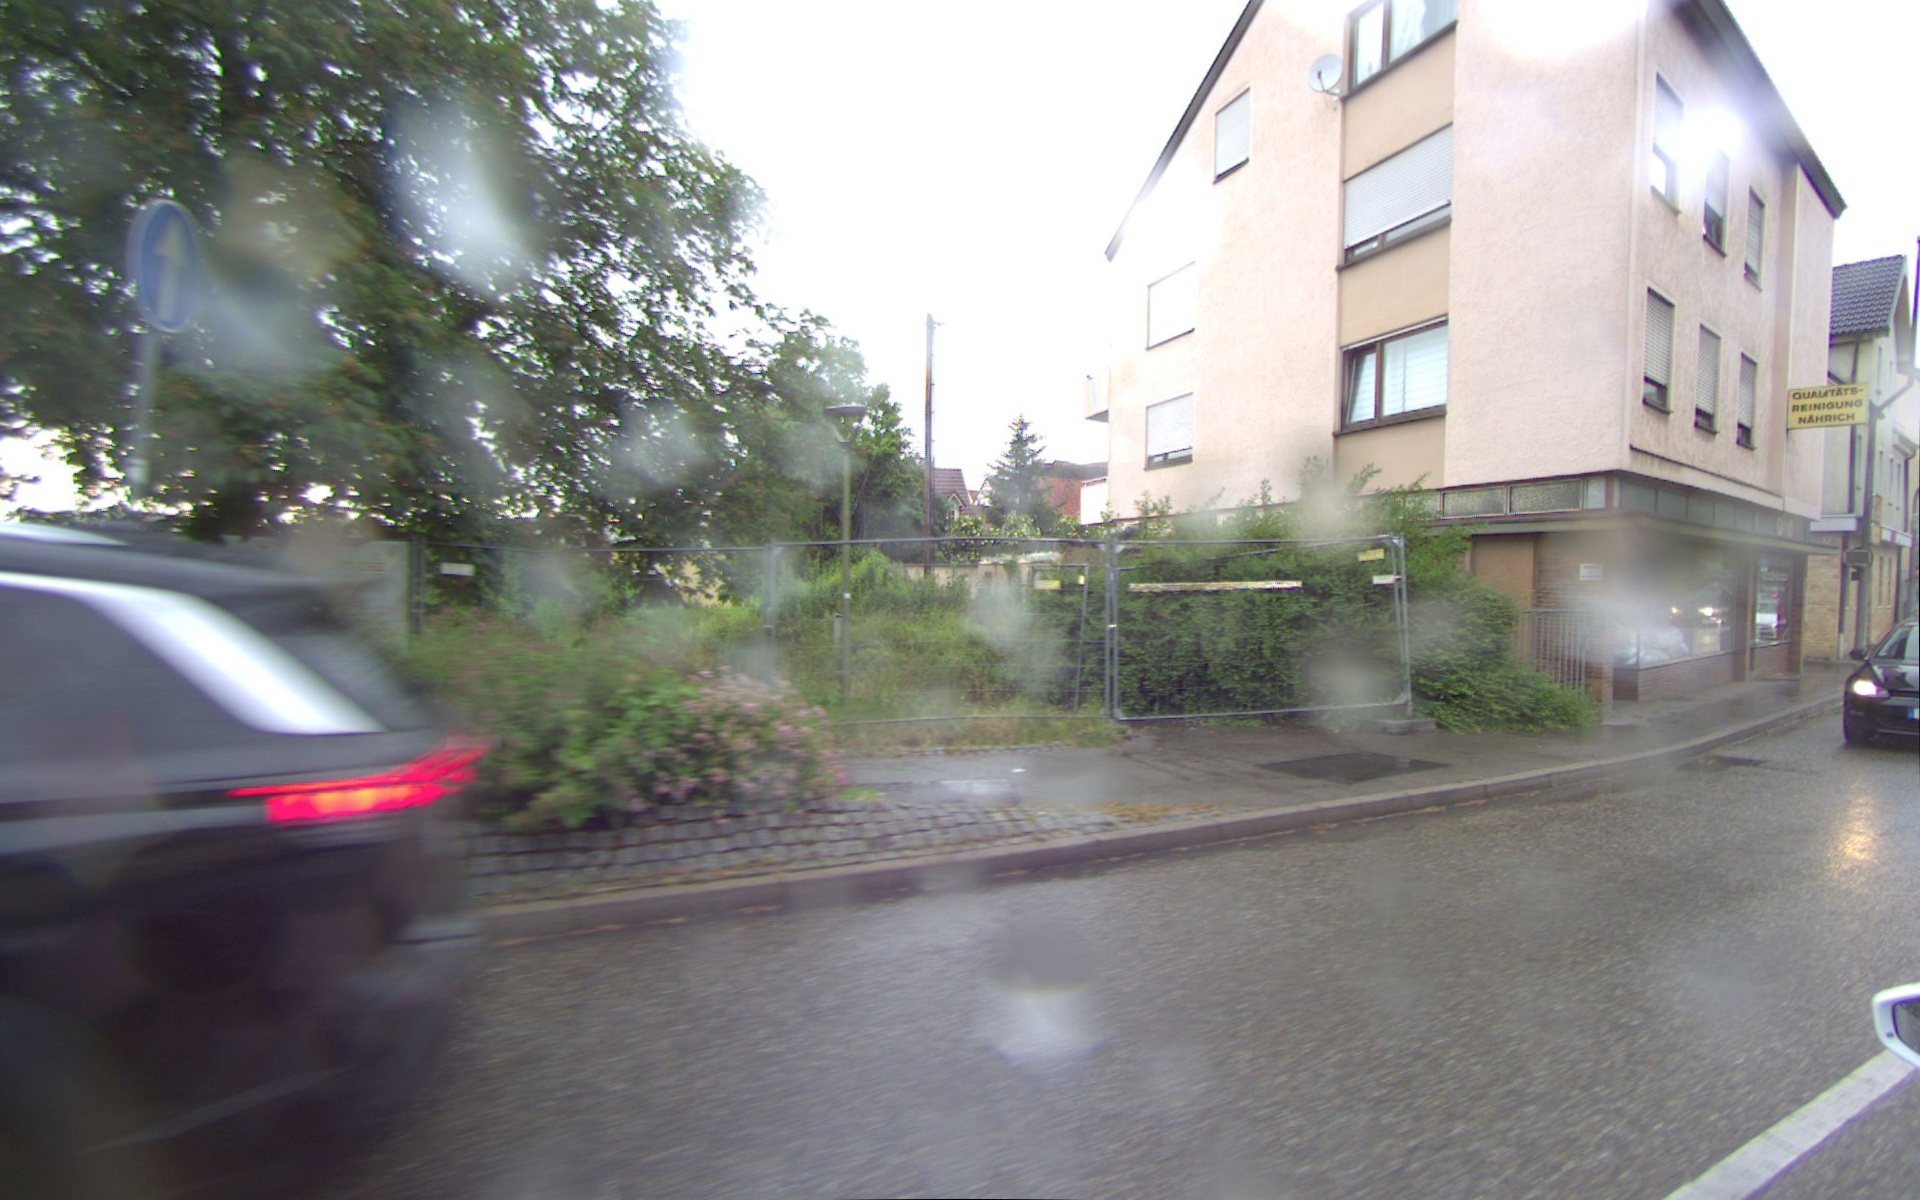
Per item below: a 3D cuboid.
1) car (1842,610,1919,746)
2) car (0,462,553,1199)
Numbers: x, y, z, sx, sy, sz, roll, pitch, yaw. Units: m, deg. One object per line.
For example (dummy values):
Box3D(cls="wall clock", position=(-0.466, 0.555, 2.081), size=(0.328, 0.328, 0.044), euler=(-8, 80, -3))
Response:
Box3D(cls="car", position=(11.717, 0.860, 11.688), size=(3.890, 1.420, 1.754), euler=(1, 0, -42))
Box3D(cls="car", position=(-3.127, 0.587, 1.790), size=(4.300, 1.616, 1.886), euler=(1, -1, -28))
